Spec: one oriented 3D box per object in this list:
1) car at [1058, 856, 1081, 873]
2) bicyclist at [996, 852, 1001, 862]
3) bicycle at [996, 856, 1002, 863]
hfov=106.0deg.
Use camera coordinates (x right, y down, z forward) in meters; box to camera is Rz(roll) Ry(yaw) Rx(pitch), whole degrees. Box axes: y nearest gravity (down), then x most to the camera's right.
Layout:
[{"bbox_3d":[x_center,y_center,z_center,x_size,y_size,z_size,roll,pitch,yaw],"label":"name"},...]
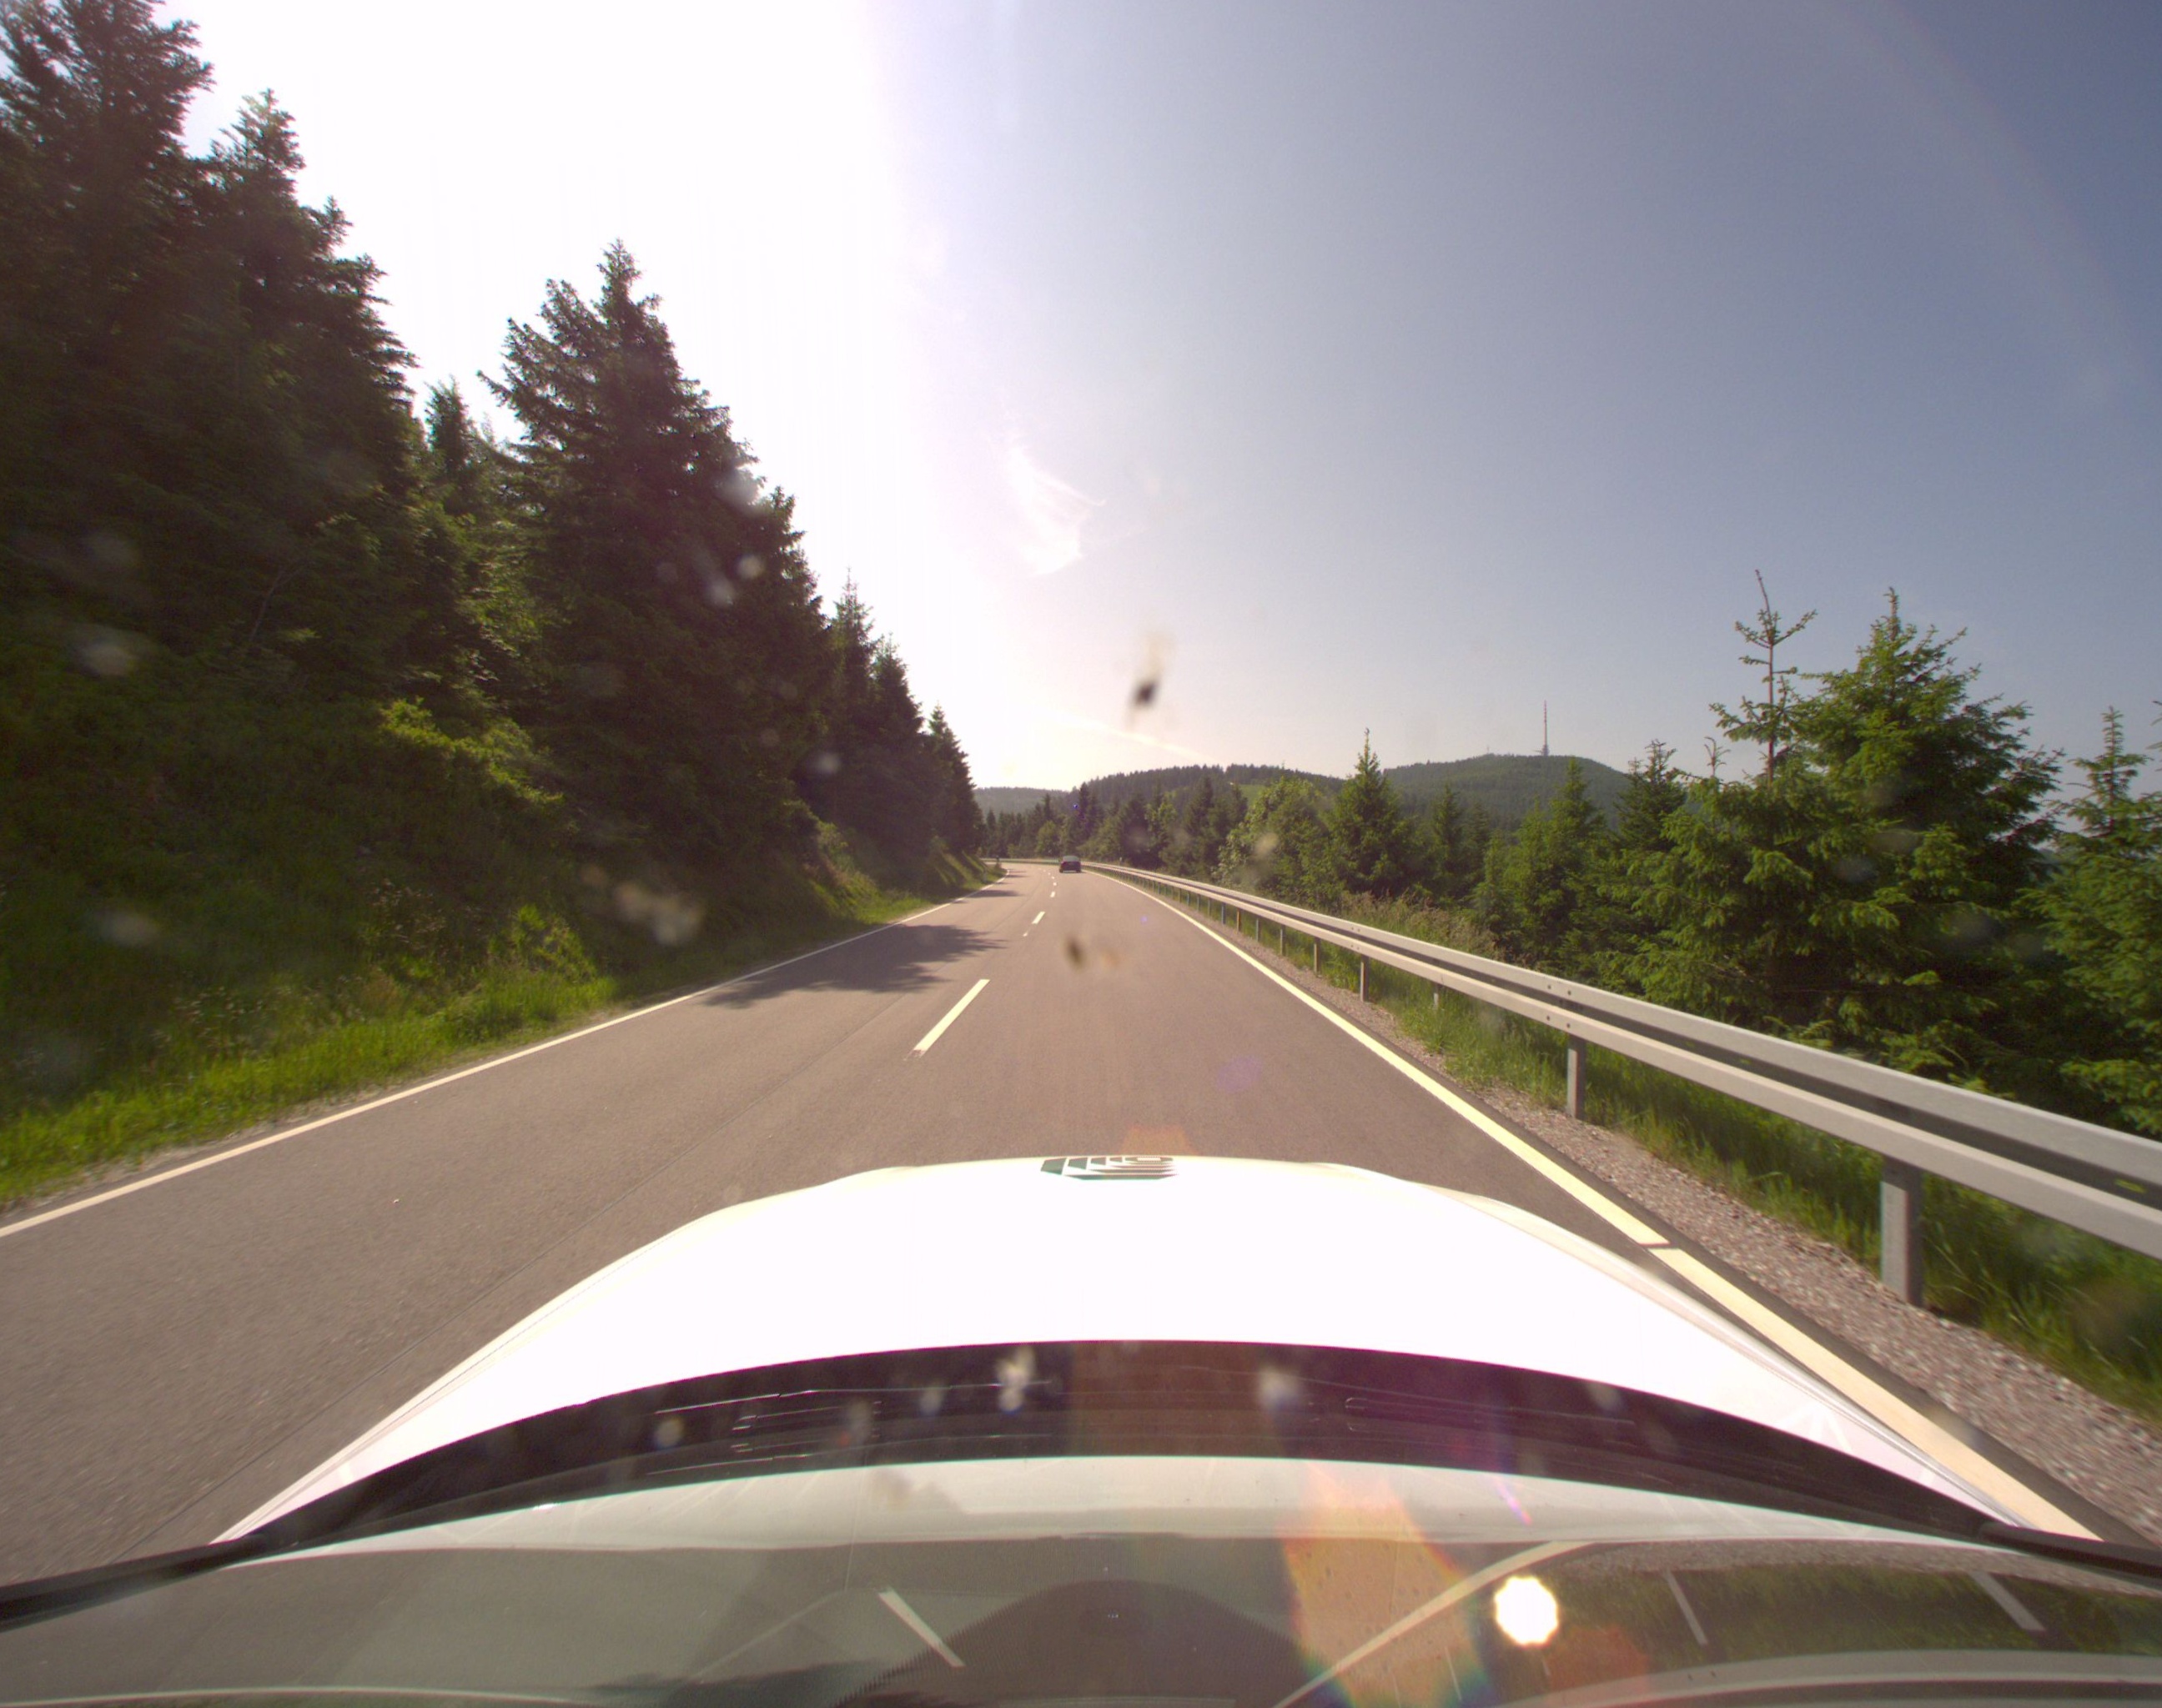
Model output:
[{"bbox_3d":[-1.001,0.868,70.327,1.772,1.442,3.704,-1,0,-4],"label":"car"},{"bbox_3d":[-11.992,0.440,118.730,0.542,1.451,0.979,-2,0,-13],"label":"bicyclist"},{"bbox_3d":[-11.985,0.817,118.820,0.553,0.886,2.053,-2,0,-13],"label":"bicycle"}]
